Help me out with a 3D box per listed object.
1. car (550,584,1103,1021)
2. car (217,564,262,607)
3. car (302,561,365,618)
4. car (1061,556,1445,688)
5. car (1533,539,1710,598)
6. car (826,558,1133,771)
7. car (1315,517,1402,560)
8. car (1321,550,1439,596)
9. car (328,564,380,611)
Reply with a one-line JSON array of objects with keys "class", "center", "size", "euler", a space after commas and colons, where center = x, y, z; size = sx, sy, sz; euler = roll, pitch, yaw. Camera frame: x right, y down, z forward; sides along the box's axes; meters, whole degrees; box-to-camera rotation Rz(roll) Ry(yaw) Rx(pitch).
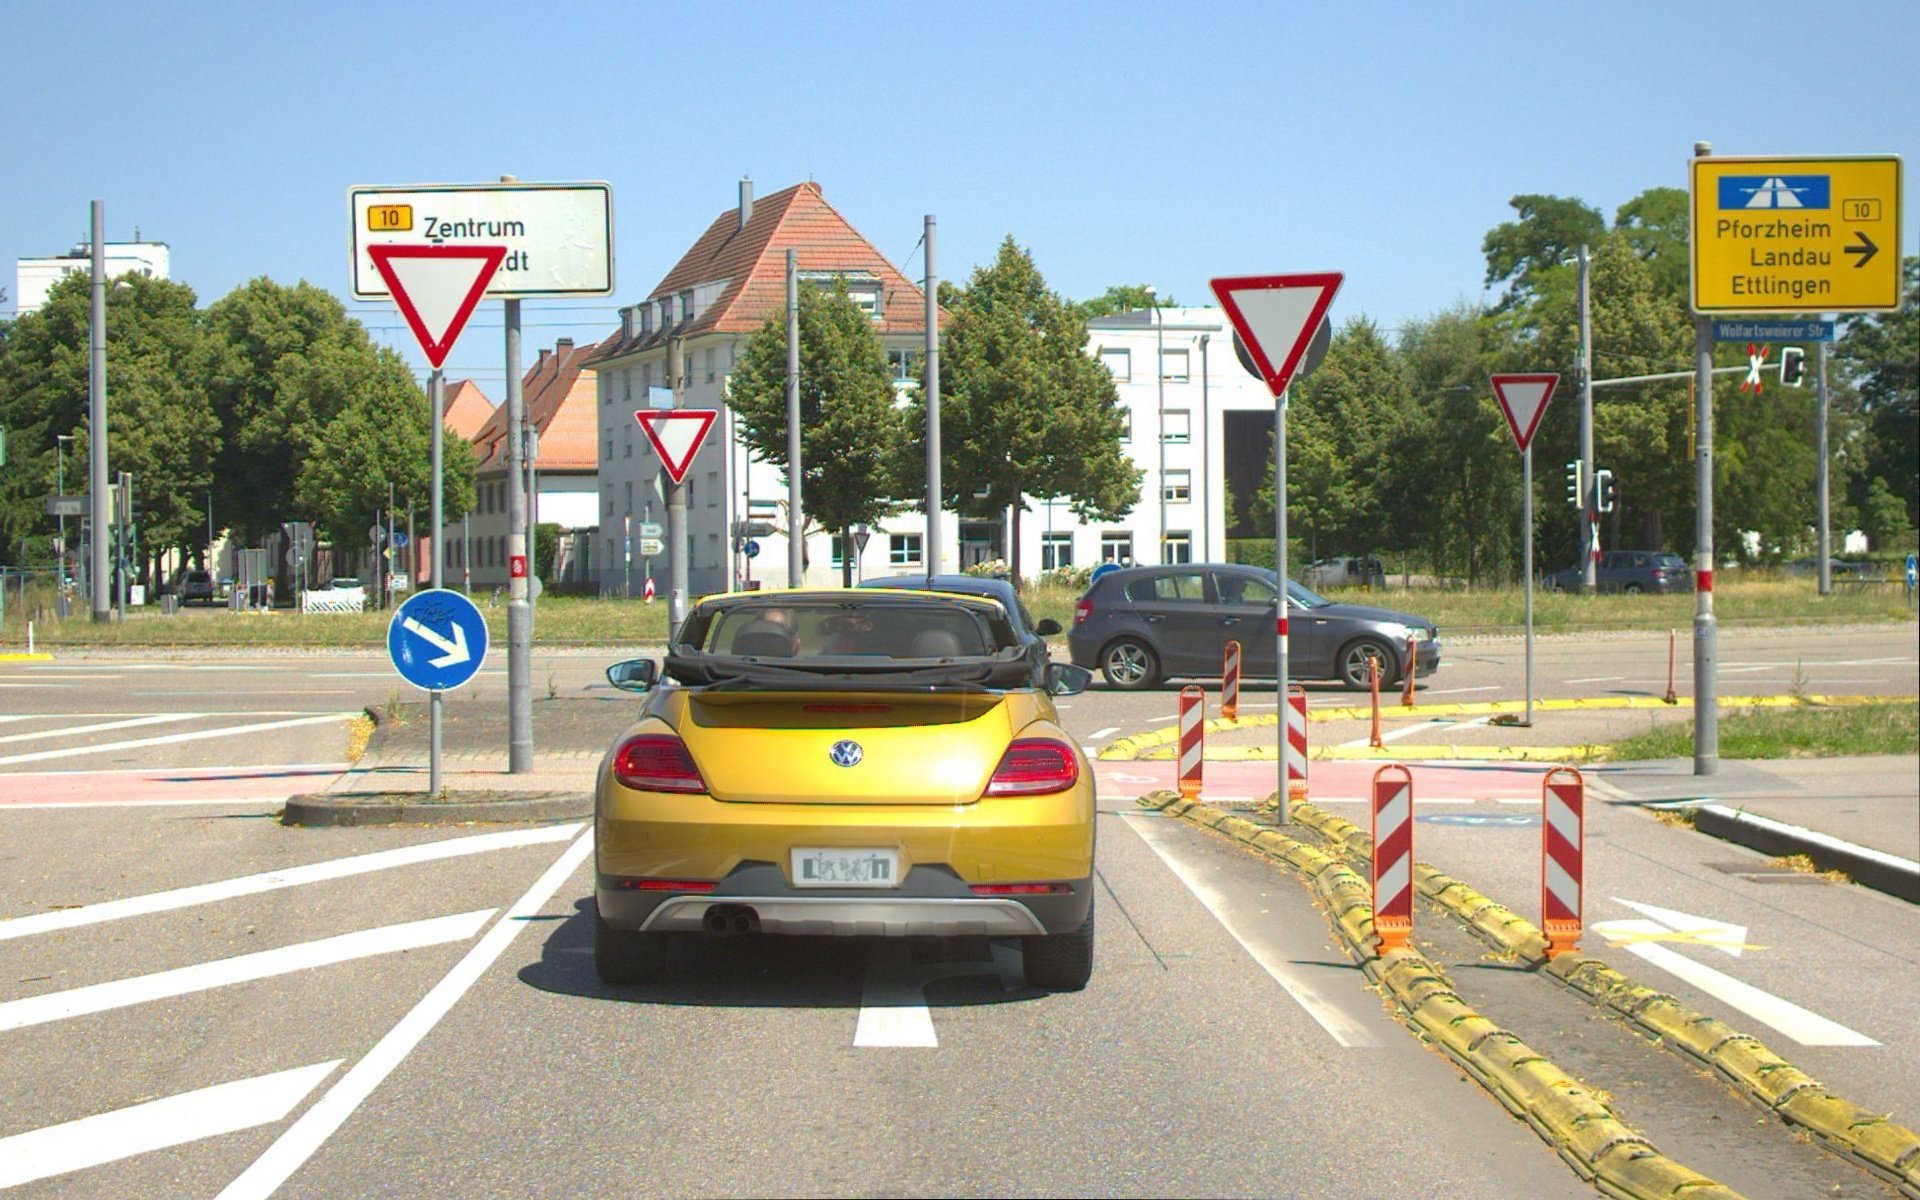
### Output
[{"class": "car", "center": [-0.463, 0.664, 13.225], "size": [1.825, 1.398, 3.662], "euler": [0, 1, -1]}, {"class": "car", "center": [-34.645, -0.705, 165.321], "size": [1.993, 2.007, 4.001], "euler": [1, 0, -13]}, {"class": "car", "center": [-22.745, -0.403, 124.731], "size": [1.993, 2.007, 4.001], "euler": [1, 0, -13]}, {"class": "car", "center": [3.315, 0.240, 38.610], "size": [4.069, 1.398, 1.752], "euler": [-1, 1, 14]}, {"class": "car", "center": [16.990, -0.820, 88.399], "size": [3.997, 1.459, 1.995], "euler": [1, 0, 44]}, {"class": "car", "center": [0.235, 0.433, 26.476], "size": [1.797, 1.435, 3.999], "euler": [0, 2, 9]}, {"class": "car", "center": [19.414, -3.003, 167.406], "size": [3.990, 2.007, 1.999], "euler": [1, 0, 15]}, {"class": "car", "center": [15.962, -1.008, 130.596], "size": [3.986, 1.678, 2.001], "euler": [1, 0, -13]}, {"class": "car", "center": [-26.382, -0.538, 149.634], "size": [1.993, 2.007, 4.001], "euler": [1, 0, -13]}]
